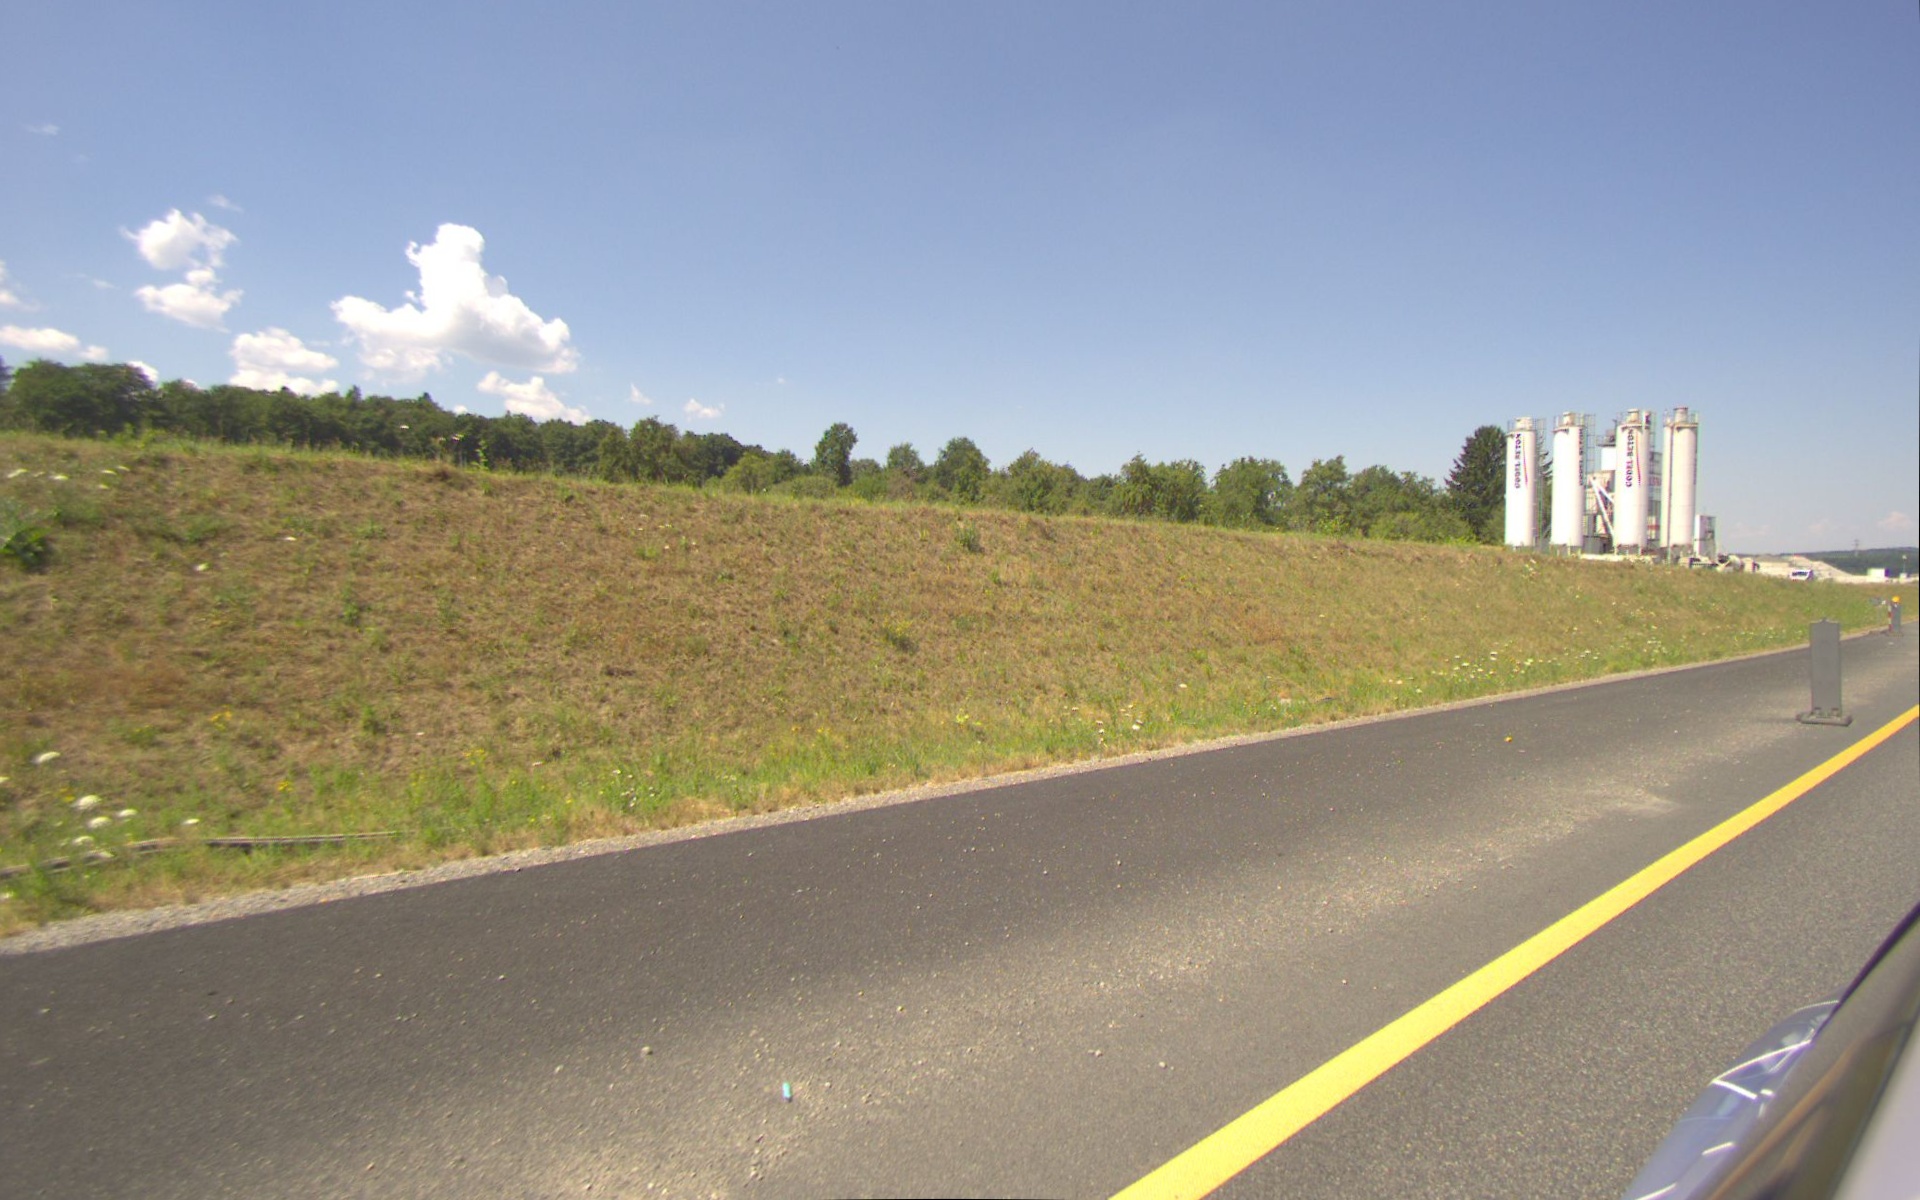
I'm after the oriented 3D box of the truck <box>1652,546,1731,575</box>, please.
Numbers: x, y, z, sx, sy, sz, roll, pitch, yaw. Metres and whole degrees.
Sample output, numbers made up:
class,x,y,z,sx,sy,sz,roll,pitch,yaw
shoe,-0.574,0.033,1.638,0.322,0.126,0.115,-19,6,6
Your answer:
class,x,y,z,sx,sy,sz,roll,pitch,yaw
truck,67.900,-3.655,94.053,5.227,2.576,2.894,-1,0,13

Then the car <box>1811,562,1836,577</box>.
class,x,y,z,sx,sy,sz,roll,pitch,yaw
car,111.444,-3.916,130.611,3.540,1.784,1.989,-1,1,-41

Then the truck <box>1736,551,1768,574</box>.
class,x,y,z,sx,sy,sz,roll,pitch,yaw
truck,93.517,-4.428,119.517,3.967,2.577,2.022,-1,0,-38

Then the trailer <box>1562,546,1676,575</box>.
class,x,y,z,sx,sy,sz,roll,pitch,yaw
trailer,63.139,-3.764,97.140,2.424,2.639,8.902,-1,2,-44

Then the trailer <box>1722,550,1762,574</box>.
class,x,y,z,sx,sy,sz,roll,pitch,yaw
trailer,90.611,-4.389,117.261,6.810,2.677,1.998,-1,1,-38
